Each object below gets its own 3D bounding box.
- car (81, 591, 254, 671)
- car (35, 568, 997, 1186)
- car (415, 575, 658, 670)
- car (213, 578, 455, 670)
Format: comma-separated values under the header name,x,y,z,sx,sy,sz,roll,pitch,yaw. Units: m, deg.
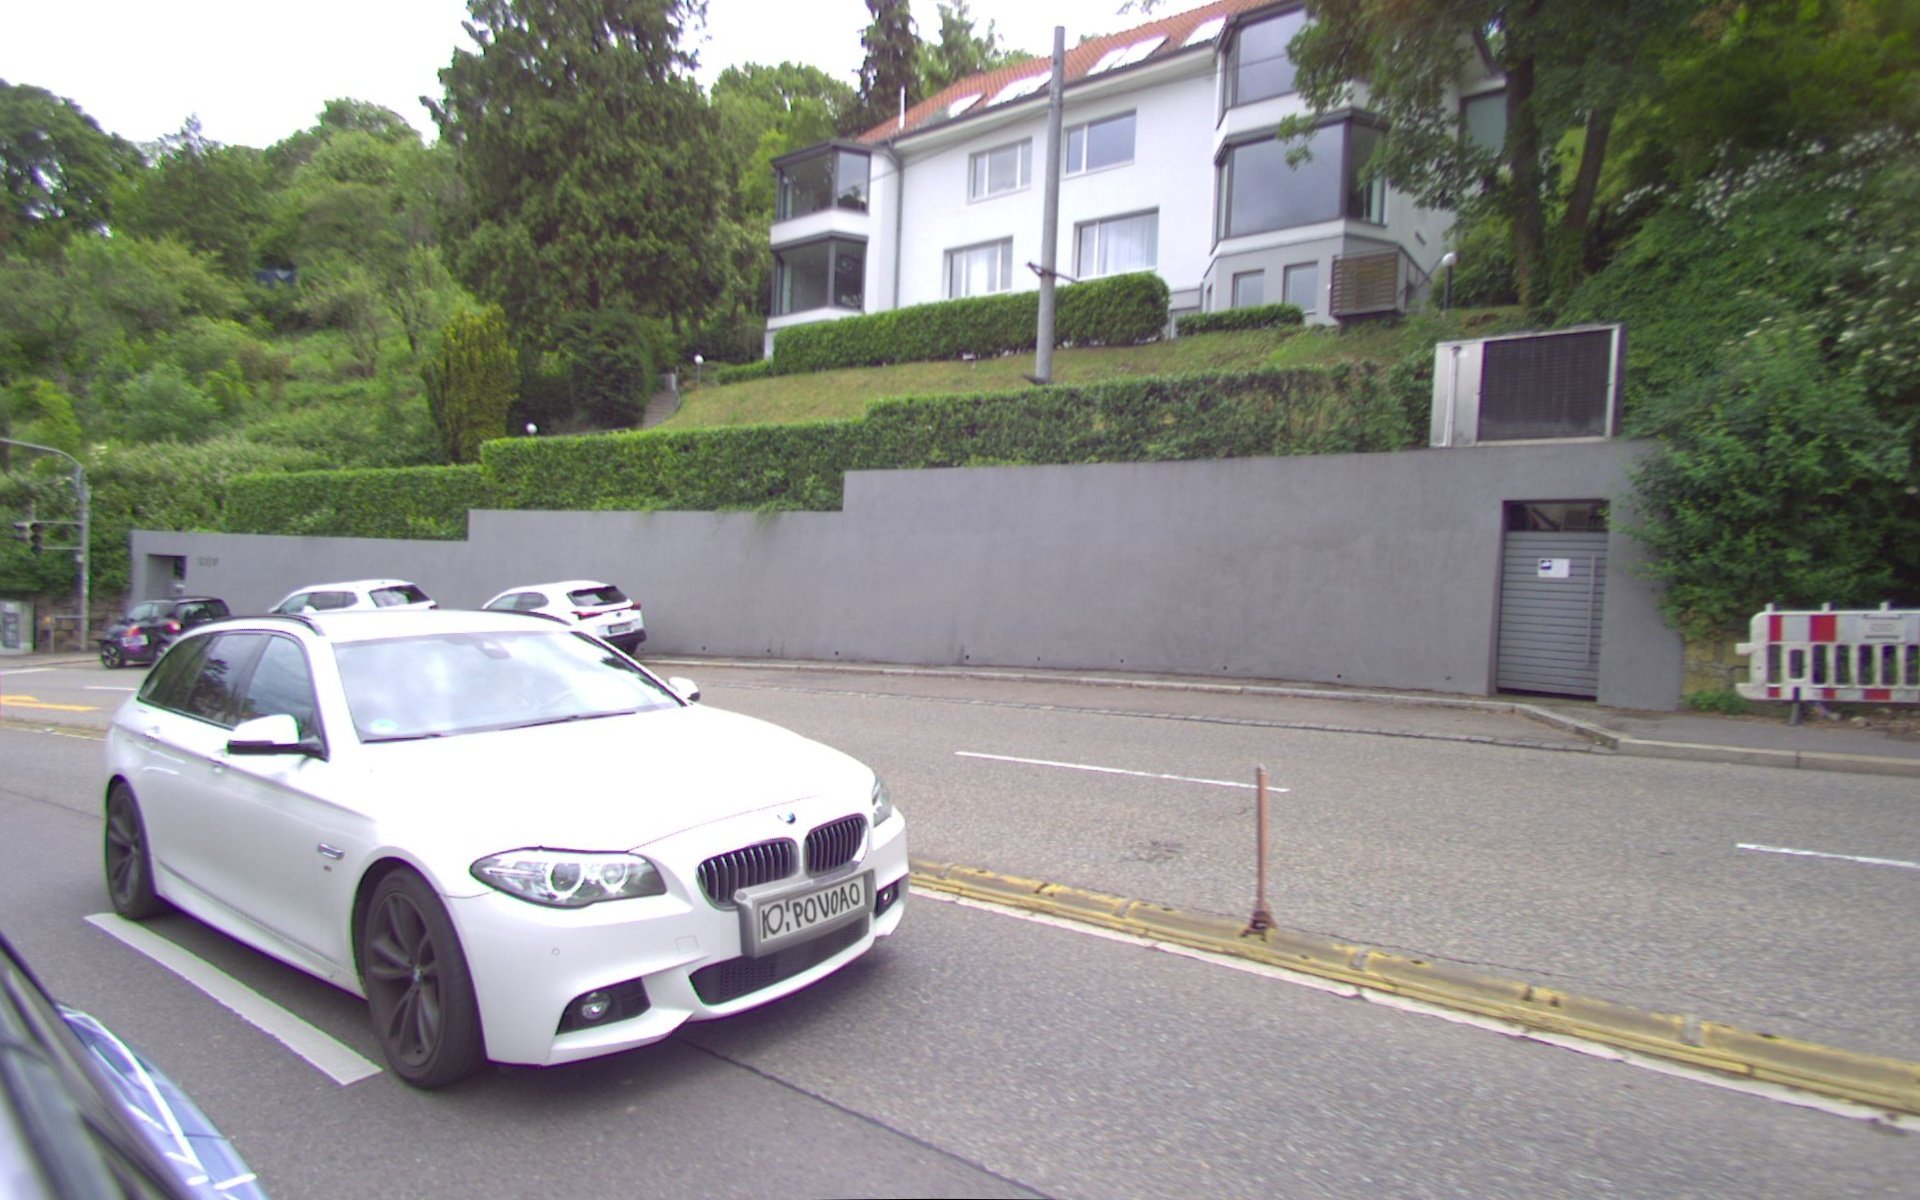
name,x,y,z,sx,sy,sz,roll,pitch,yaw
car,-18.040,0.699,23.066,2.934,1.584,1.706,-2,4,19
car,-2.361,0.655,4.652,4.869,1.477,1.832,0,3,36
car,-8.084,0.371,19.245,4.454,1.584,1.822,0,2,28
car,-13.339,0.478,21.580,4.726,1.744,1.853,-1,3,21
